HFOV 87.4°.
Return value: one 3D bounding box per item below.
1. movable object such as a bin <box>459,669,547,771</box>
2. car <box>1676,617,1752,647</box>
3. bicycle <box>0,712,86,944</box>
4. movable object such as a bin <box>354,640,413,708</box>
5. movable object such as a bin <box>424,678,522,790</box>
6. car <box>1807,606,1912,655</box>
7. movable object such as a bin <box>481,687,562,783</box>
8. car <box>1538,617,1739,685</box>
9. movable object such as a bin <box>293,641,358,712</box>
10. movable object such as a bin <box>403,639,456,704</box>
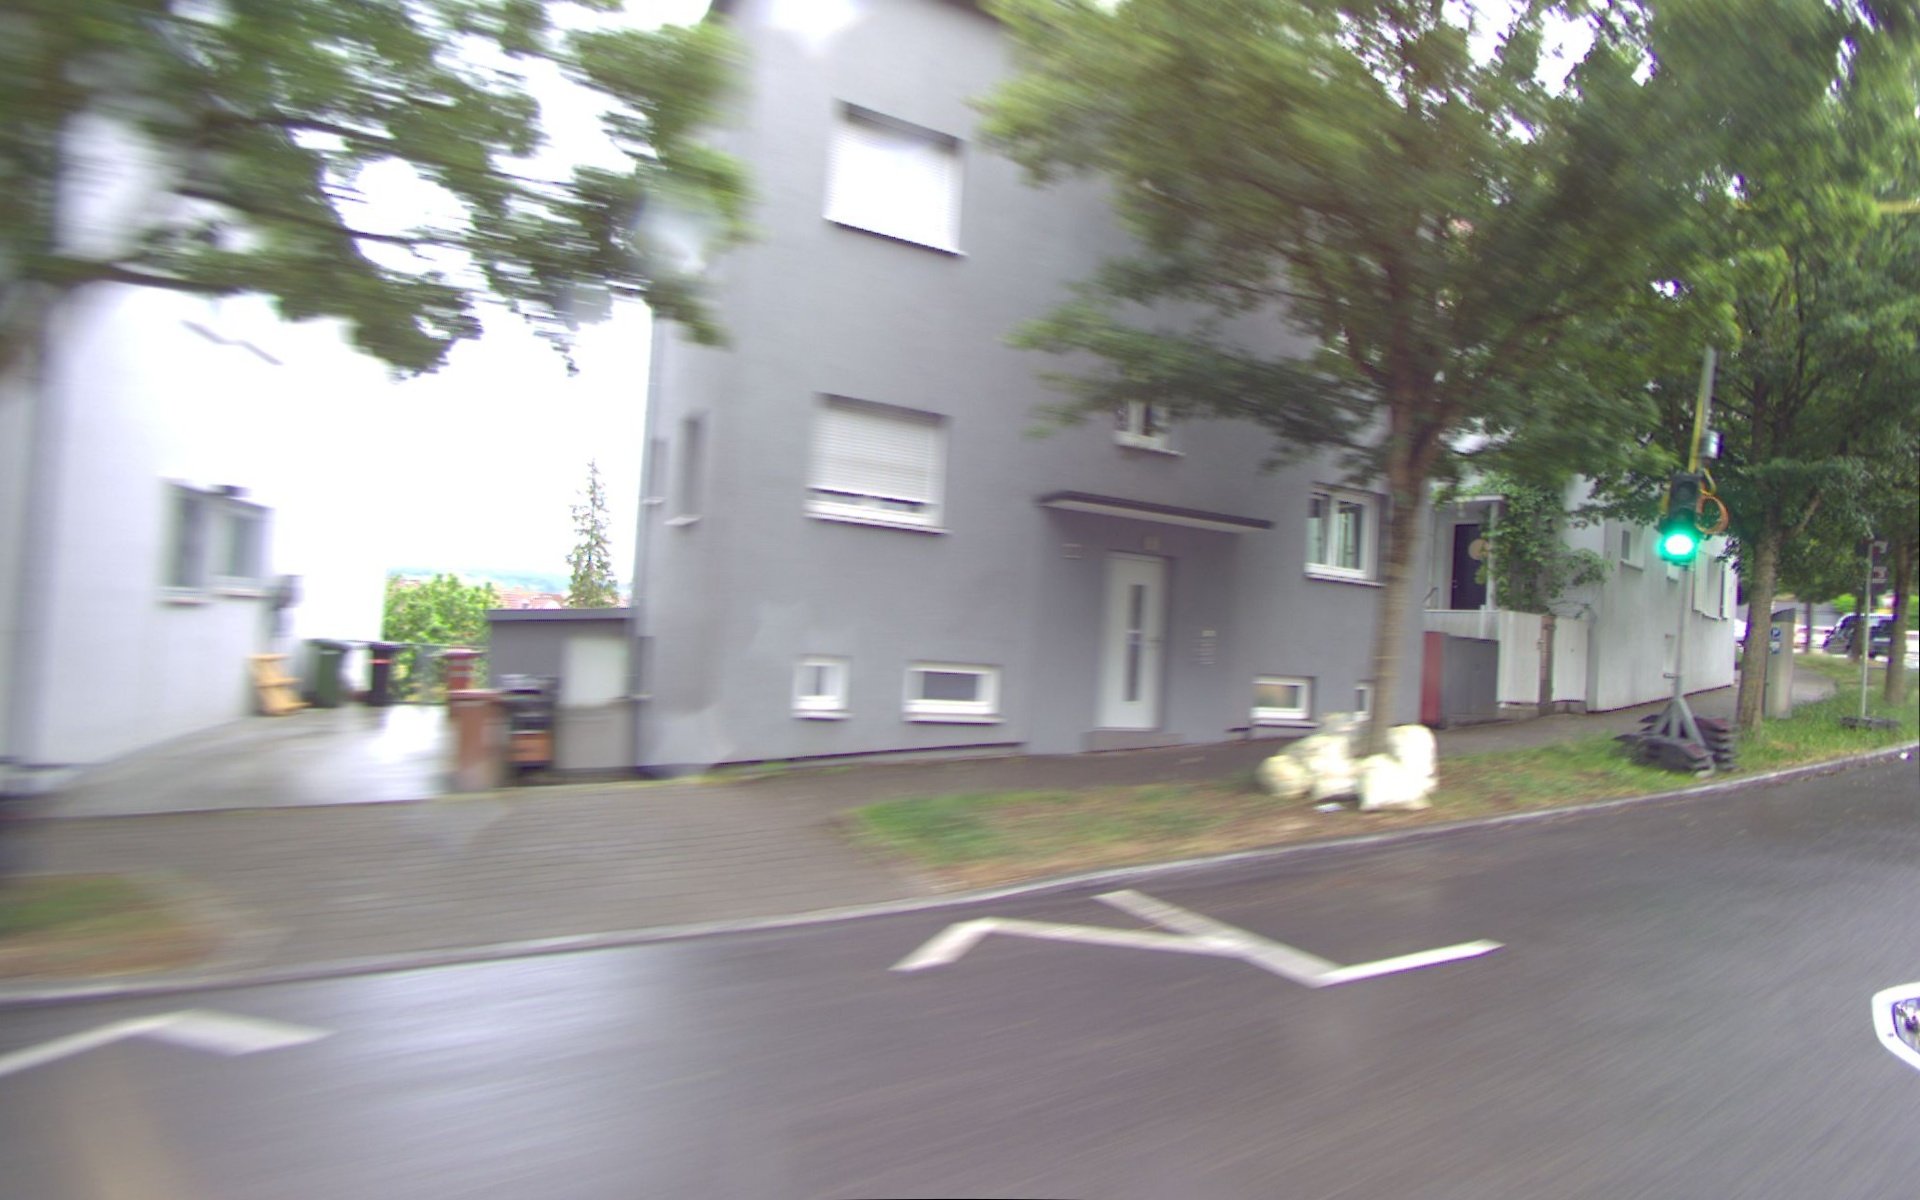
[{"bbox_3d":[-4.590,1.194,10.132,0.632,0.963,0.657,0,-2,-8],"label":"movable object such as a bin"},{"bbox_3d":[39.634,1.735,52.899,1.691,1.505,4.080,-1,-3,14],"label":"car"},{"bbox_3d":[-5.378,1.083,4.801,1.870,1.043,0.436,0,-1,-6],"label":"bicycle"},{"bbox_3d":[-8.441,1.073,14.730,0.648,0.963,0.679,1,-2,-22],"label":"movable object such as a bin"},{"bbox_3d":[-4.495,1.219,9.312,0.632,0.963,0.657,0,-2,-8],"label":"movable object such as a bin"},{"bbox_3d":[35.270,1.249,39.500,1.963,1.817,3.997,-1,-3,25],"label":"car"},{"bbox_3d":[-4.711,1.438,10.829,0.632,0.963,0.657,0,-2,-8],"label":"movable object such as a bin"},{"bbox_3d":[17.126,1.257,25.472,1.737,1.581,3.950,2,-3,-43],"label":"car"},{"bbox_3d":[-8.908,1.061,14.119,0.648,0.963,0.641,1,-2,-22],"label":"movable object such as a bin"},{"bbox_3d":[-8.209,1.092,15.568,0.648,0.963,0.711,1,-2,-22],"label":"movable object such as a bin"}]
